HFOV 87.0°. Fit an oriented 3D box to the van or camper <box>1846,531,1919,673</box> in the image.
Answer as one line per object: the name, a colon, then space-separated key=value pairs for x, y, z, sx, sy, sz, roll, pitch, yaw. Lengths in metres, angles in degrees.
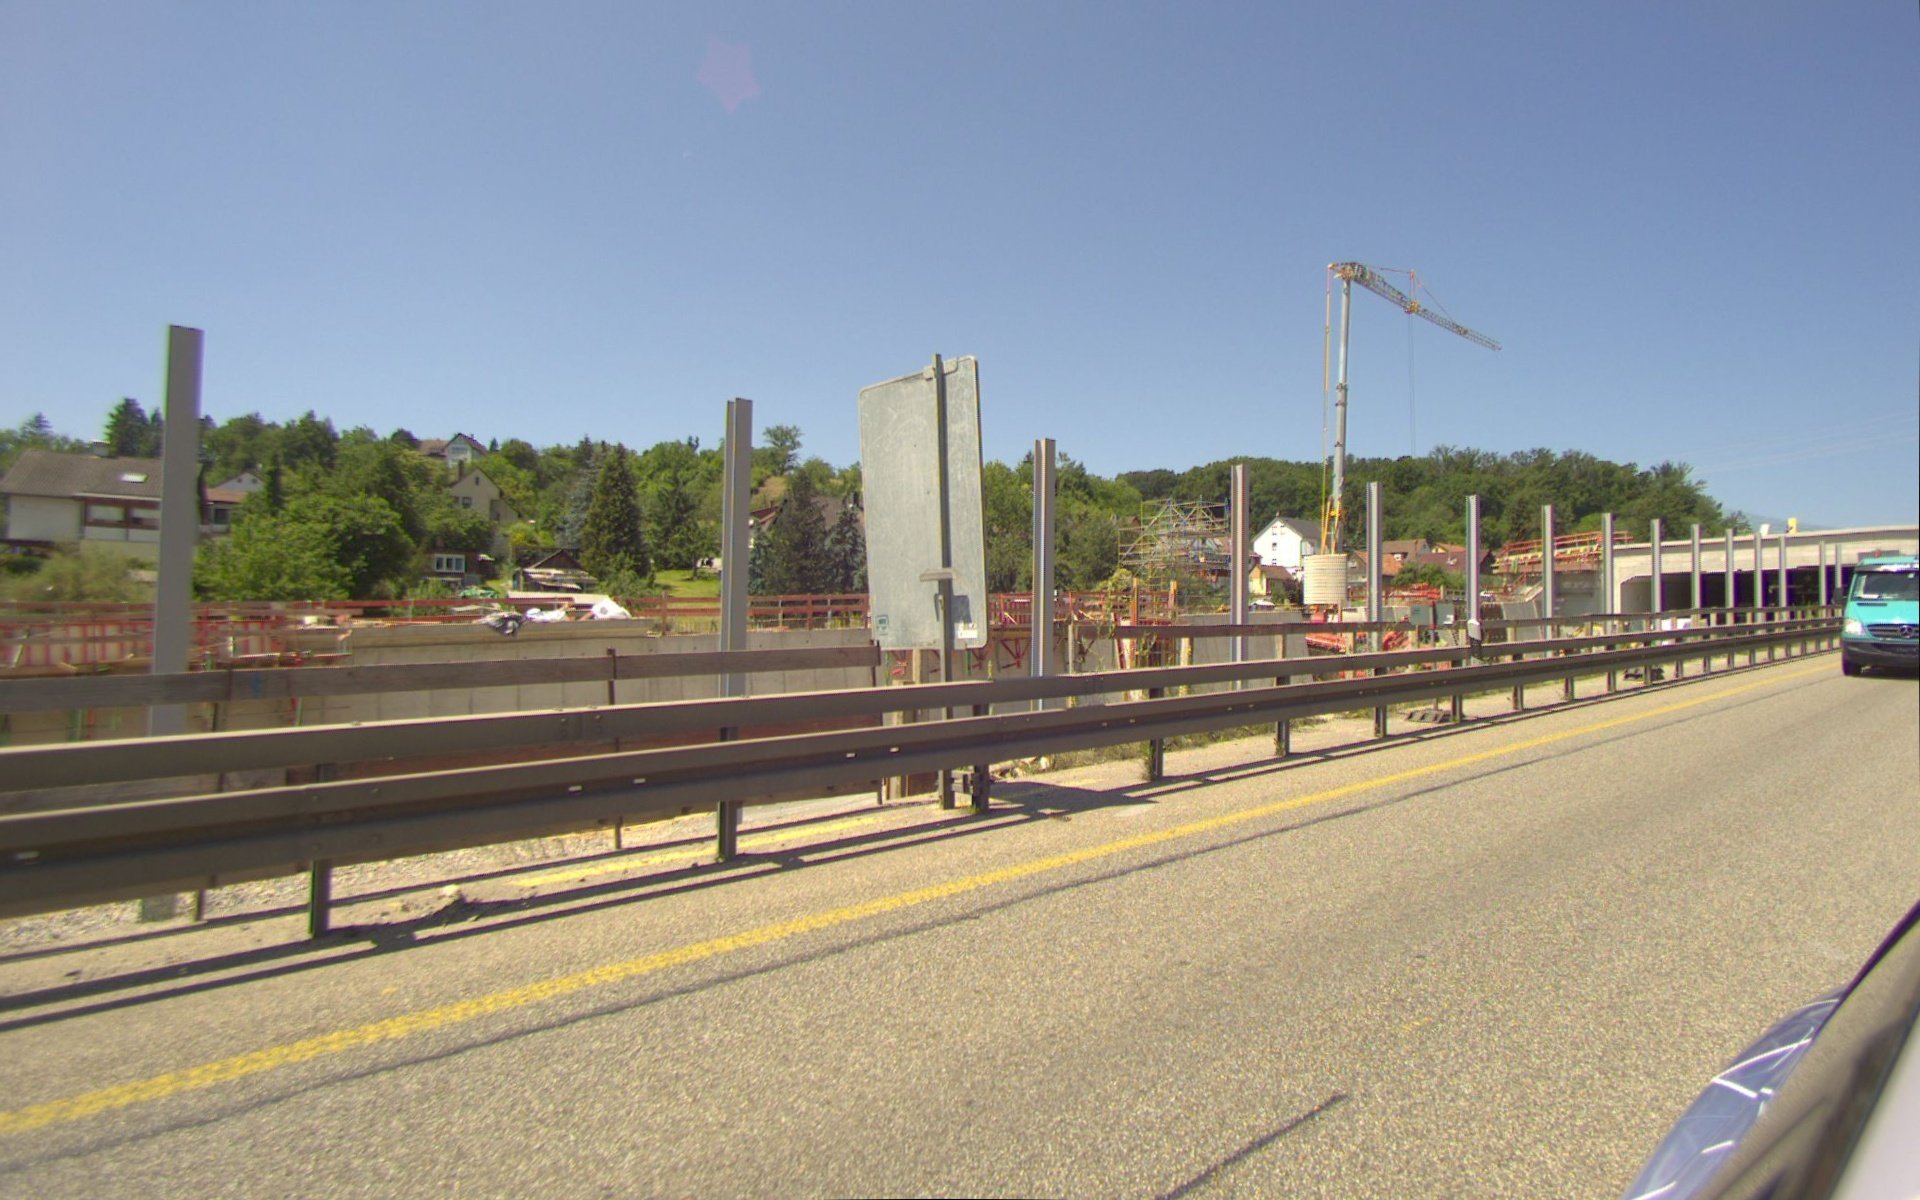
van or camper: x=19.859 y=0.013 z=20.338 sx=7.537 sy=2.504 sz=2.096 roll=0 pitch=0 yaw=-41
